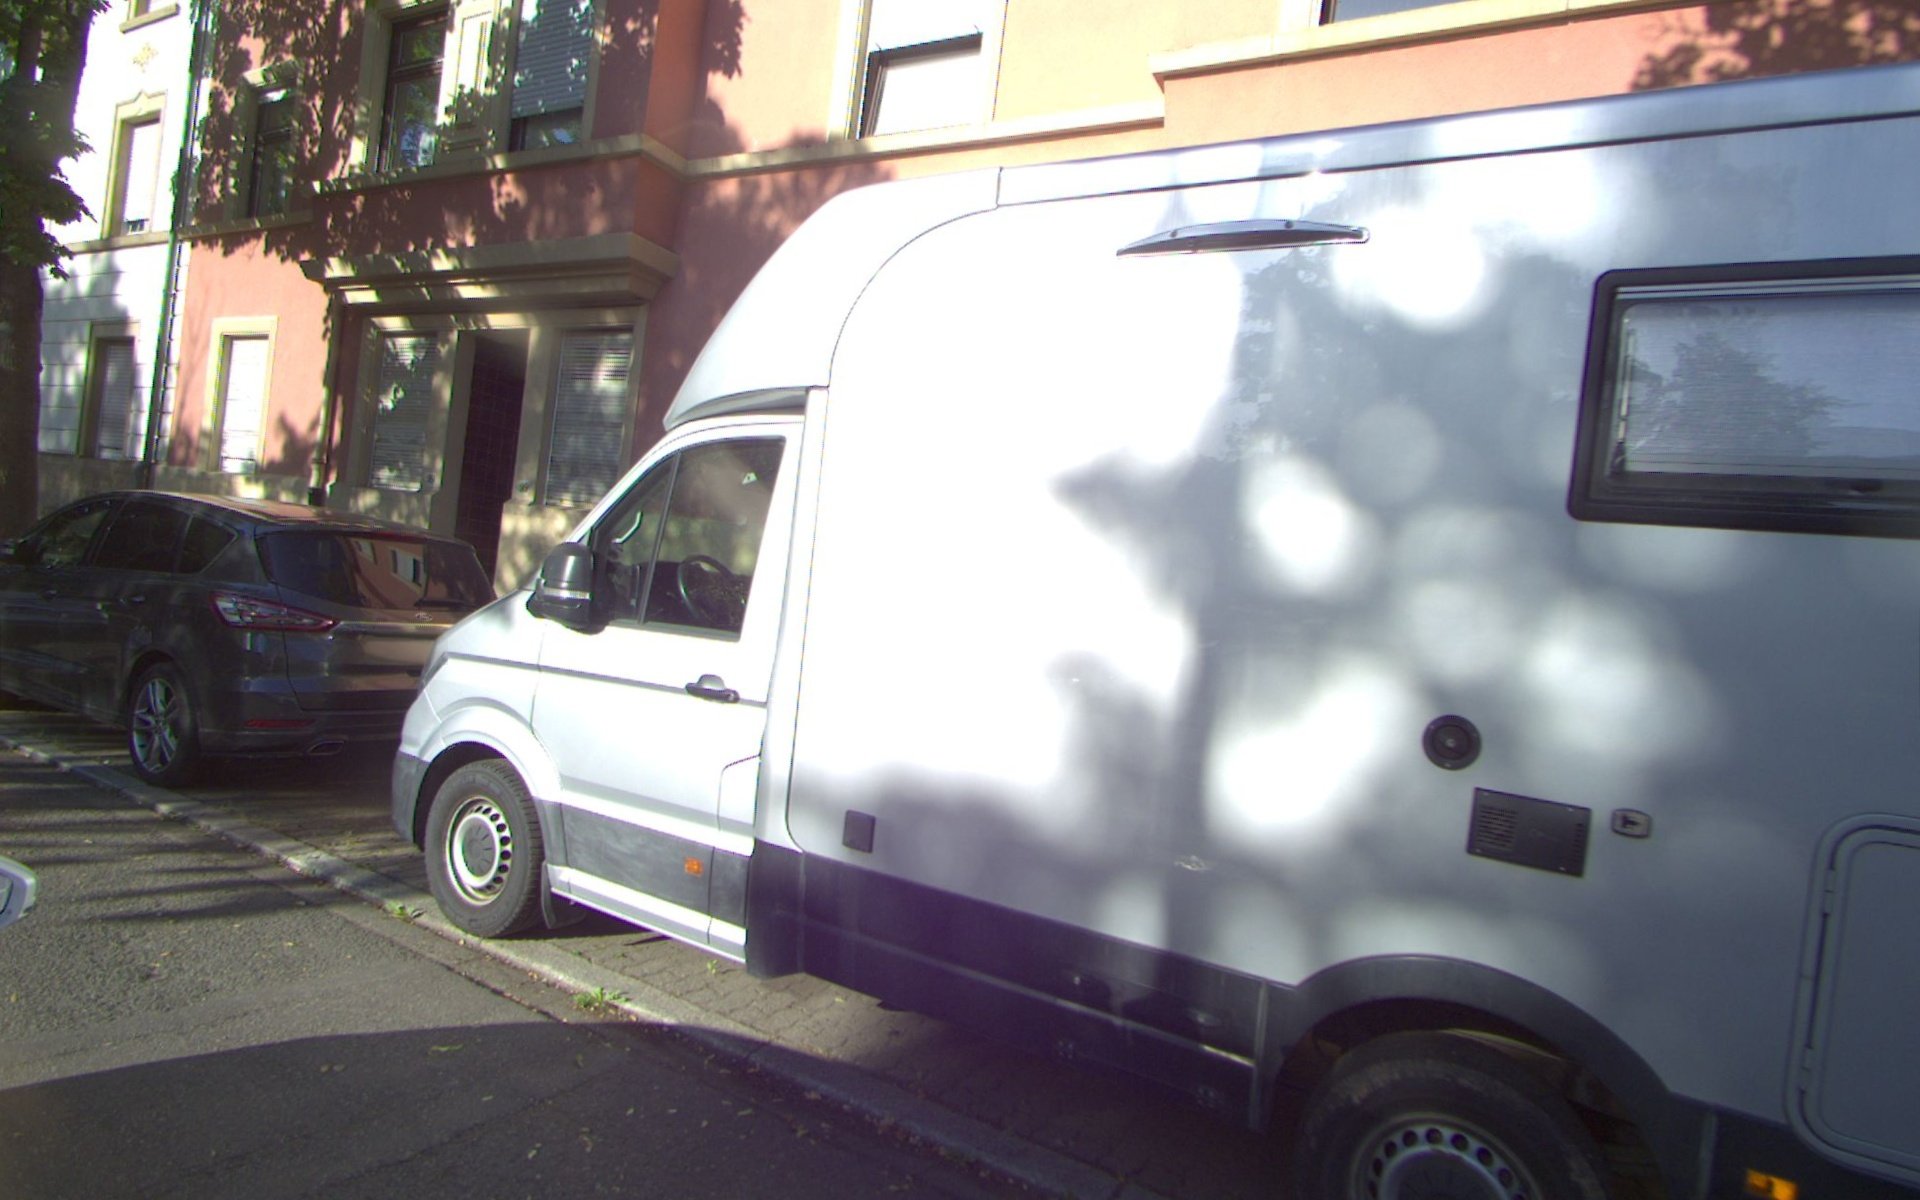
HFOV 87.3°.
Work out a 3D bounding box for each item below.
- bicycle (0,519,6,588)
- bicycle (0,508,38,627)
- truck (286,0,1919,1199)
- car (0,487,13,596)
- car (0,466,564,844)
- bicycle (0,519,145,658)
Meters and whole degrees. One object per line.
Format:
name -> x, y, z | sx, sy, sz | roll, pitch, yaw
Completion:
bicycle -> -9.599, -0.272, 9.181 | 0.293, 1.089, 1.202 | 7, 1, 28
bicycle -> -9.751, -0.348, 9.600 | 0.322, 1.154, 1.309 | 7, 1, 28
truck -> 0.289, 0.013, 3.872 | 6.002, 3.009, 2.075 | 7, 3, 28
car -> -12.466, -0.741, 10.913 | 4.382, 1.532, 1.791 | 7, -1, 28
car -> -5.279, 0.135, 6.941 | 4.857, 1.737, 1.889 | 7, 0, 27
bicycle -> -8.500, -0.112, 8.952 | 0.559, 1.182, 1.813 | 7, 2, 28
